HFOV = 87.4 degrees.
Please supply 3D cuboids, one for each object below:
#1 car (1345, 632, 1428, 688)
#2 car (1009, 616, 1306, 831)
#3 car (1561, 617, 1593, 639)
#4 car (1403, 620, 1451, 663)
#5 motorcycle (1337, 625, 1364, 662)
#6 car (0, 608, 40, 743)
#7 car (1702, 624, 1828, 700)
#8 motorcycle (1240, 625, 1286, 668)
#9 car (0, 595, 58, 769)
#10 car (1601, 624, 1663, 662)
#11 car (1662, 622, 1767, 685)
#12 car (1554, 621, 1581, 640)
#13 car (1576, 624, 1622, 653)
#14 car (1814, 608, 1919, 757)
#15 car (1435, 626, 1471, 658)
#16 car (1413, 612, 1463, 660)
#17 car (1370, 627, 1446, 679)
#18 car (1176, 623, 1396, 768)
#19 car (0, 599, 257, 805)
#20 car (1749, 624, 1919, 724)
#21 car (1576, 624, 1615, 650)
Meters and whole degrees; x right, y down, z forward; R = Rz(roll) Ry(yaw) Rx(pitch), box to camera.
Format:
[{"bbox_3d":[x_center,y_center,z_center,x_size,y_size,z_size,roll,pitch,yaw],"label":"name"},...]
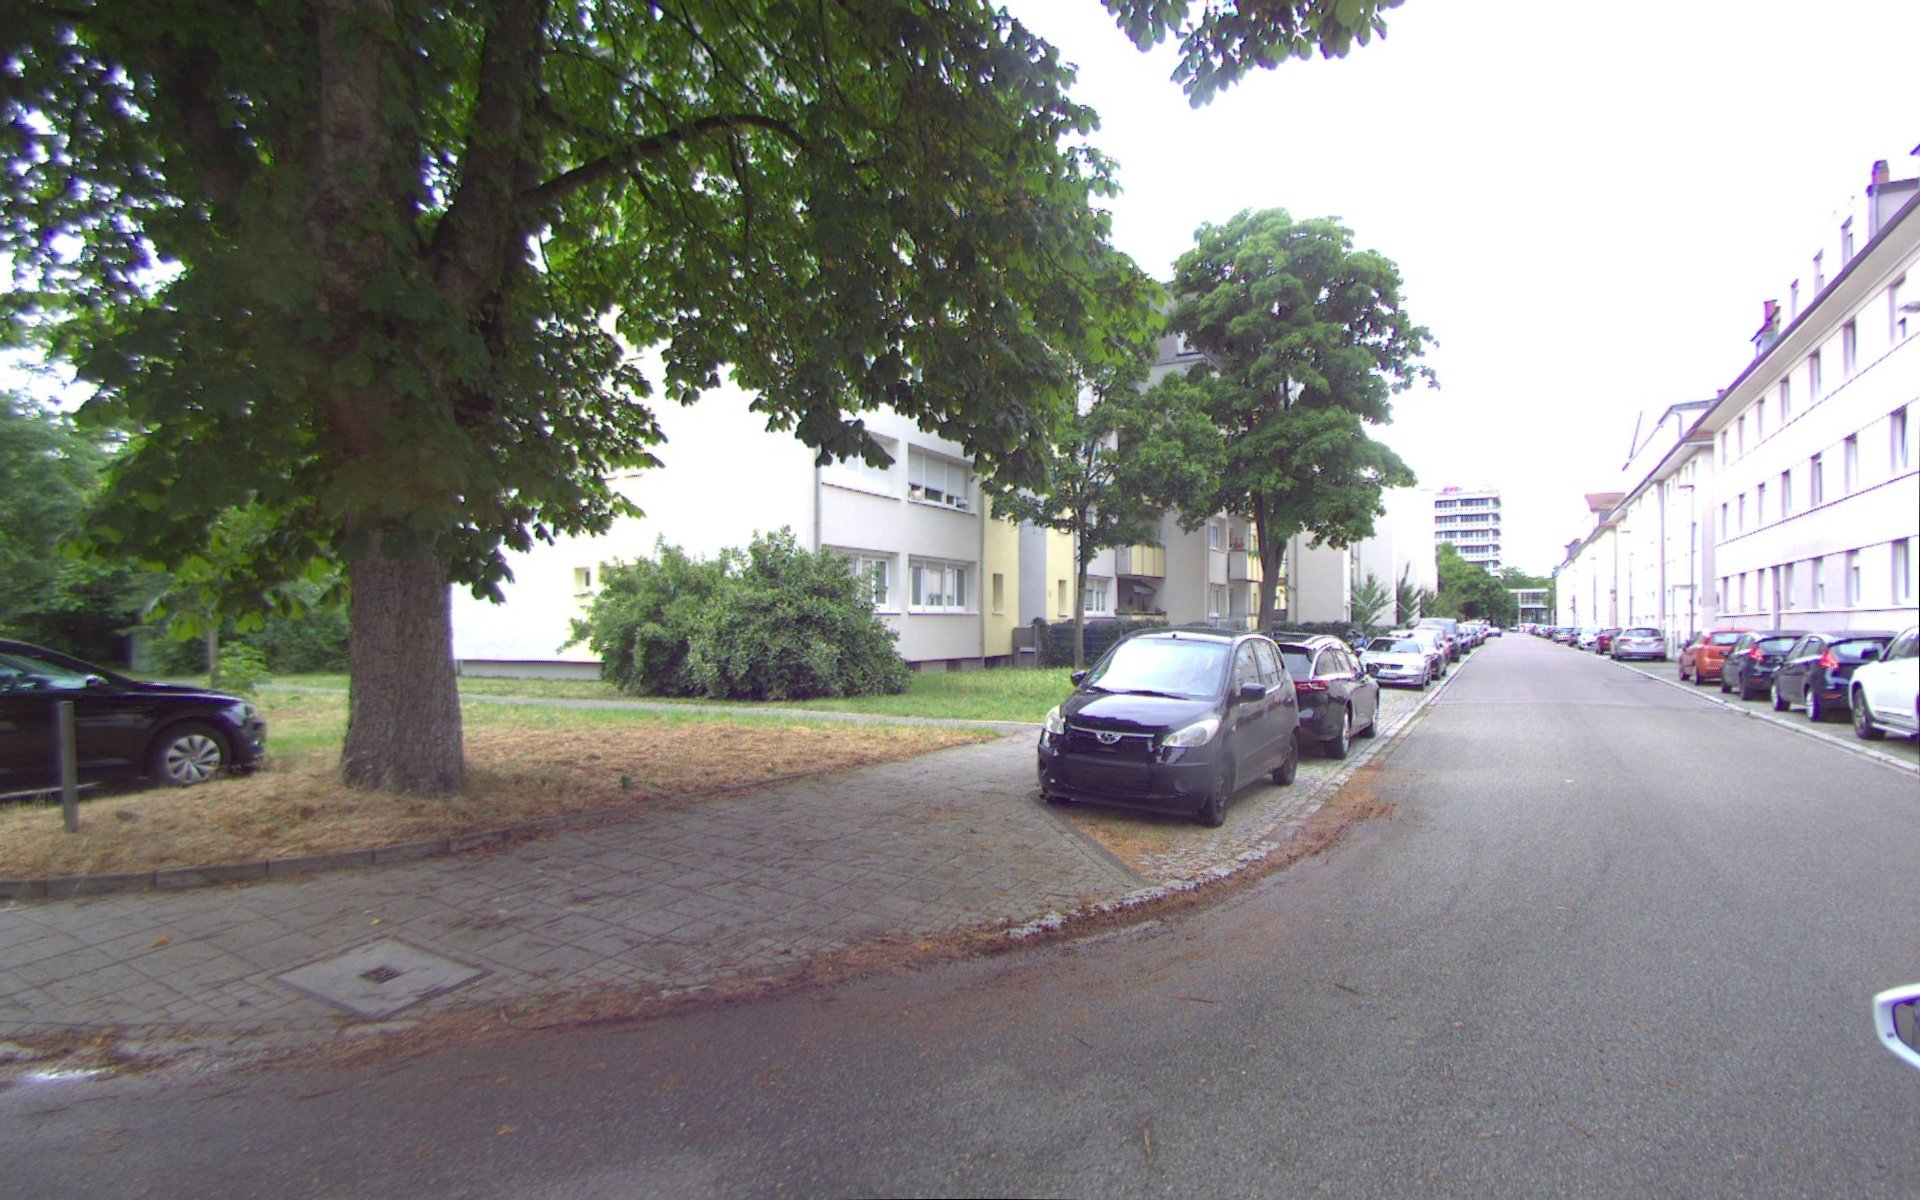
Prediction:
[{"bbox_3d":[11.605,1.560,27.204,1.671,1.275,4.009,2,0,29],"label":"car"},{"bbox_3d":[1.993,0.943,9.288,1.503,1.513,3.583,2,0,31],"label":"car"},{"bbox_3d":[45.184,2.024,73.571,1.792,1.598,3.746,0,-1,29],"label":"car"},{"bbox_3d":[19.073,1.667,40.985,1.539,1.589,3.637,3,0,28],"label":"car"},{"bbox_3d":[15.318,1.669,39.336,0.667,1.374,2.226,2,0,28],"label":"motorcycle"},{"bbox_3d":[-13.039,0.897,10.788,1.810,1.587,4.346,0,0,32],"label":"car"},{"bbox_3d":[17.448,1.305,21.923,1.544,1.493,3.689,-2,-2,30],"label":"car"},{"bbox_3d":[9.439,1.406,31.205,0.671,1.239,3.060,1,0,30],"label":"motorcycle"},{"bbox_3d":[-11.131,0.815,9.103,1.883,1.720,4.058,0,0,32],"label":"car"},{"bbox_3d":[28.995,1.815,43.446,1.728,1.487,4.594,0,-1,27],"label":"car"},{"bbox_3d":[19.989,1.372,26.752,1.671,1.545,3.819,-2,-2,29],"label":"car"},{"bbox_3d":[53.351,2.680,88.280,1.792,1.598,3.878,0,-1,29],"label":"car"},{"bbox_3d":[33.766,2.029,53.159,1.645,1.439,3.995,-2,-2,28],"label":"car"},{"bbox_3d":[12.474,0.944,12.489,1.814,1.696,4.284,-2,-2,27],"label":"car"},{"bbox_3d":[27.562,2.310,56.109,1.742,1.665,4.350,0,-1,27],"label":"car"},{"bbox_3d":[21.477,1.559,45.008,1.850,1.929,5.025,2,0,27],"label":"car"},{"bbox_3d":[14.281,1.618,31.886,1.814,1.440,4.622,2,0,29],"label":"car"},{"bbox_3d":[4.566,1.105,13.518,1.840,1.484,4.826,2,0,30],"label":"car"},{"bbox_3d":[-8.282,0.803,8.154,1.799,1.598,3.834,-1,-2,31],"label":"car"},{"bbox_3d":[14.947,1.182,17.315,1.544,1.498,3.864,-1,-1,30],"label":"car"},{"bbox_3d":[39.803,2.278,62.979,1.792,1.524,3.746,0,-1,29],"label":"car"}]
